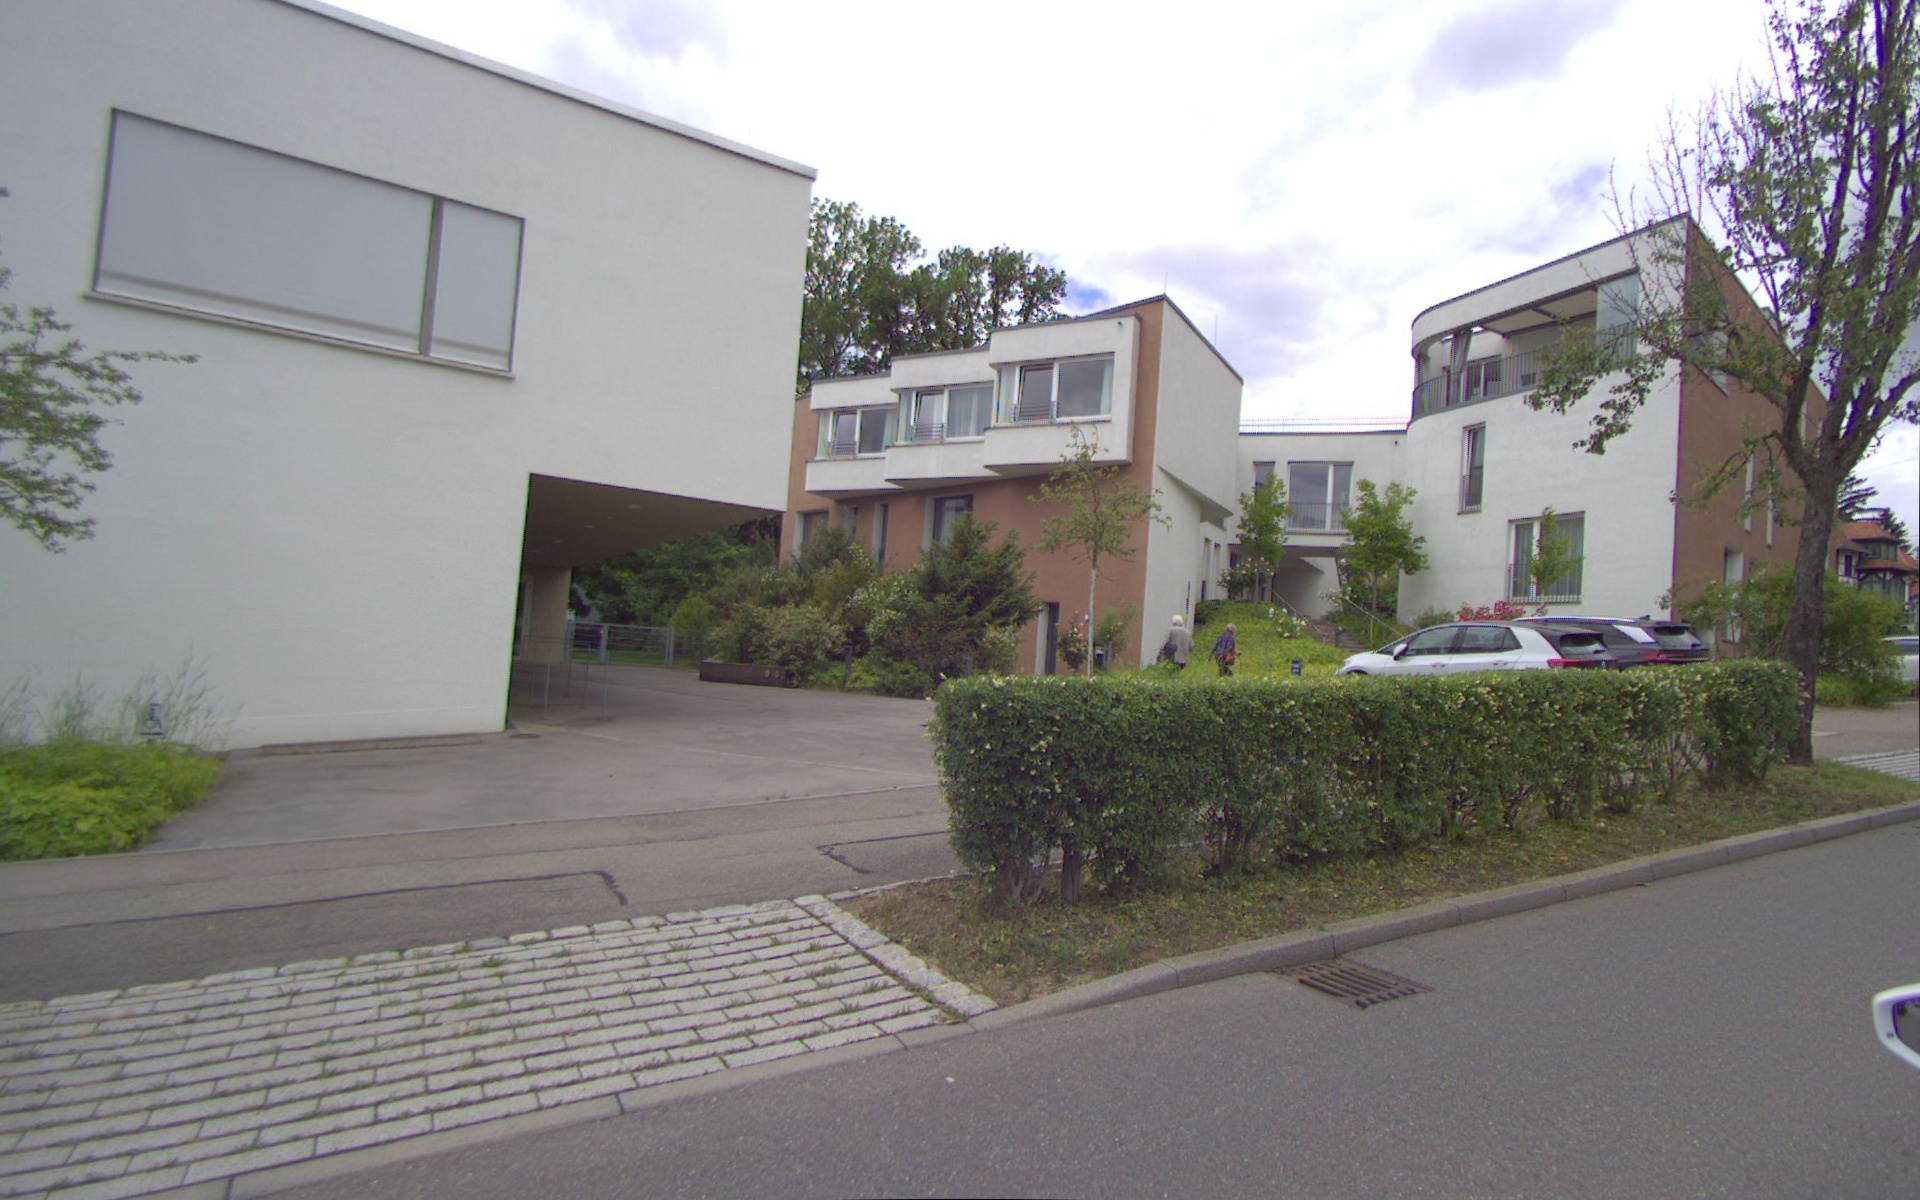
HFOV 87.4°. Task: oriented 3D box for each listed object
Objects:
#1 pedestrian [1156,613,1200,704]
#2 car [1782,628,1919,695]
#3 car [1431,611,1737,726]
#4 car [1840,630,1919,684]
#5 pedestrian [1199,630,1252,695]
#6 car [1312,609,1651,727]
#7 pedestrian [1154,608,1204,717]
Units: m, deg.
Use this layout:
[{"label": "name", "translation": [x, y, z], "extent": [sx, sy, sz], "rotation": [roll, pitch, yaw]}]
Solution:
[{"label": "pedestrian", "translation": [4.090, 1.091, 18.859], "extent": [0.558, 1.662, 0.591], "rotation": [1, -2, -29]}, {"label": "car", "translation": [23.931, 1.570, 25.599], "extent": [1.992, 1.644, 4.237], "rotation": [3, -3, -32]}, {"label": "car", "translation": [10.390, 1.052, 17.039], "extent": [1.984, 1.675, 3.970], "rotation": [1, -1, -29]}, {"label": "car", "translation": [27.218, 1.575, 28.011], "extent": [1.715, 1.483, 3.735], "rotation": [1, -2, -35]}, {"label": "pedestrian", "translation": [5.541, 1.297, 20.980], "extent": [0.889, 1.300, 0.604], "rotation": [1, 0, -31]}, {"label": "car", "translation": [8.029, 0.993, 15.912], "extent": [2.043, 1.587, 4.365], "rotation": [1, -2, -31]}, {"label": "pedestrian", "translation": [3.482, 0.982, 15.983], "extent": [0.513, 1.704, 0.586], "rotation": [1, -1, -29]}]
